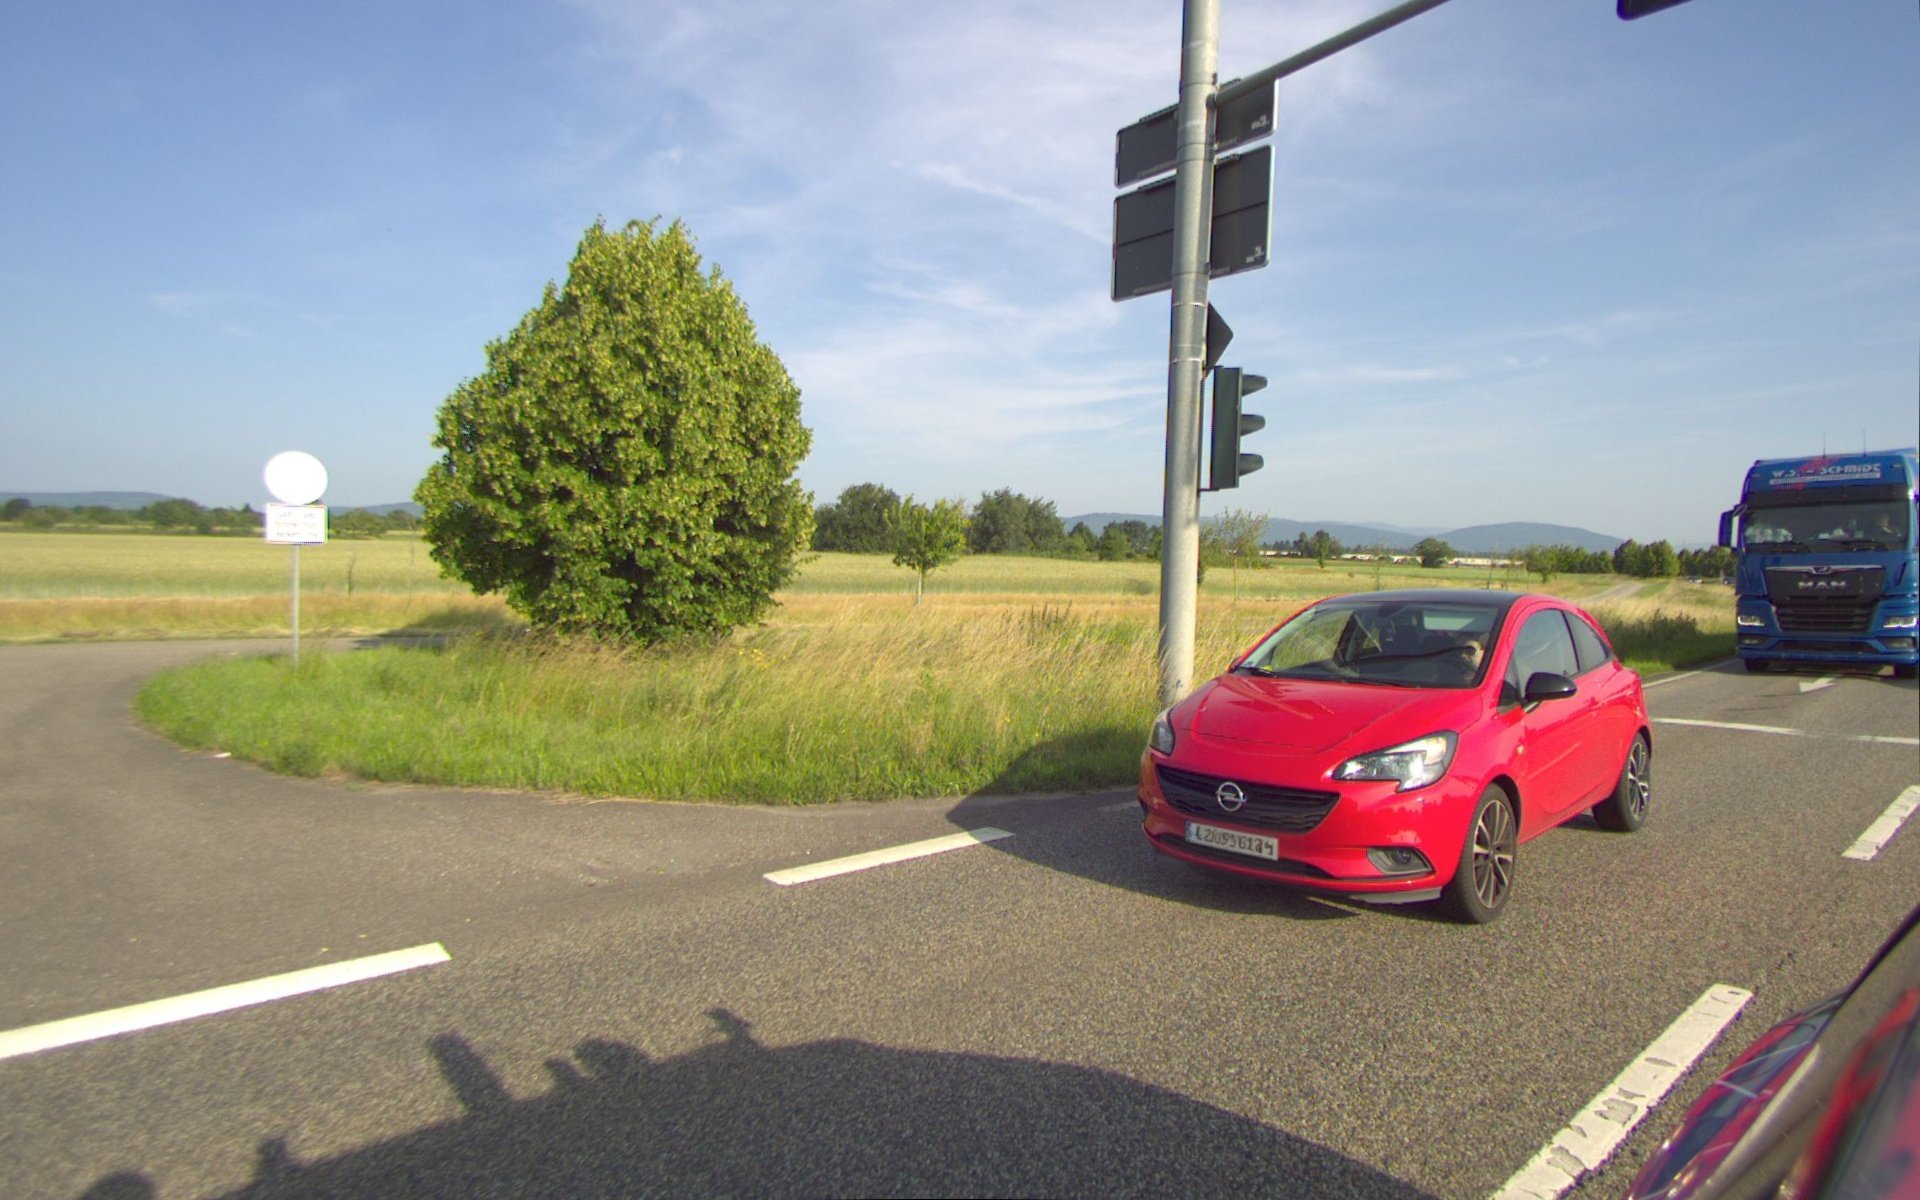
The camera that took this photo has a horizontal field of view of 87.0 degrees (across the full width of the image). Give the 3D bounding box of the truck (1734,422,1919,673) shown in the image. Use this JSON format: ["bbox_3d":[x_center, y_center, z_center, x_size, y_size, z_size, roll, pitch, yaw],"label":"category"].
[{"bbox_3d":[16.516,-0.889,18.865,2.645,3.968,5.856,0,1,44],"label":"truck"}]

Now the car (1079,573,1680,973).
[{"bbox_3d":[2.569,0.594,5.698,3.888,1.482,1.663,-1,2,-43],"label":"car"}]

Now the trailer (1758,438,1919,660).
[{"bbox_3d":[21.484,-1.053,23.950,2.645,4.028,13.709,0,1,44],"label":"trailer"}]

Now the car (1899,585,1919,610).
[{"bbox_3d":[62.472,-0.153,65.589,1.990,1.552,3.945,2,2,38],"label":"car"}]
